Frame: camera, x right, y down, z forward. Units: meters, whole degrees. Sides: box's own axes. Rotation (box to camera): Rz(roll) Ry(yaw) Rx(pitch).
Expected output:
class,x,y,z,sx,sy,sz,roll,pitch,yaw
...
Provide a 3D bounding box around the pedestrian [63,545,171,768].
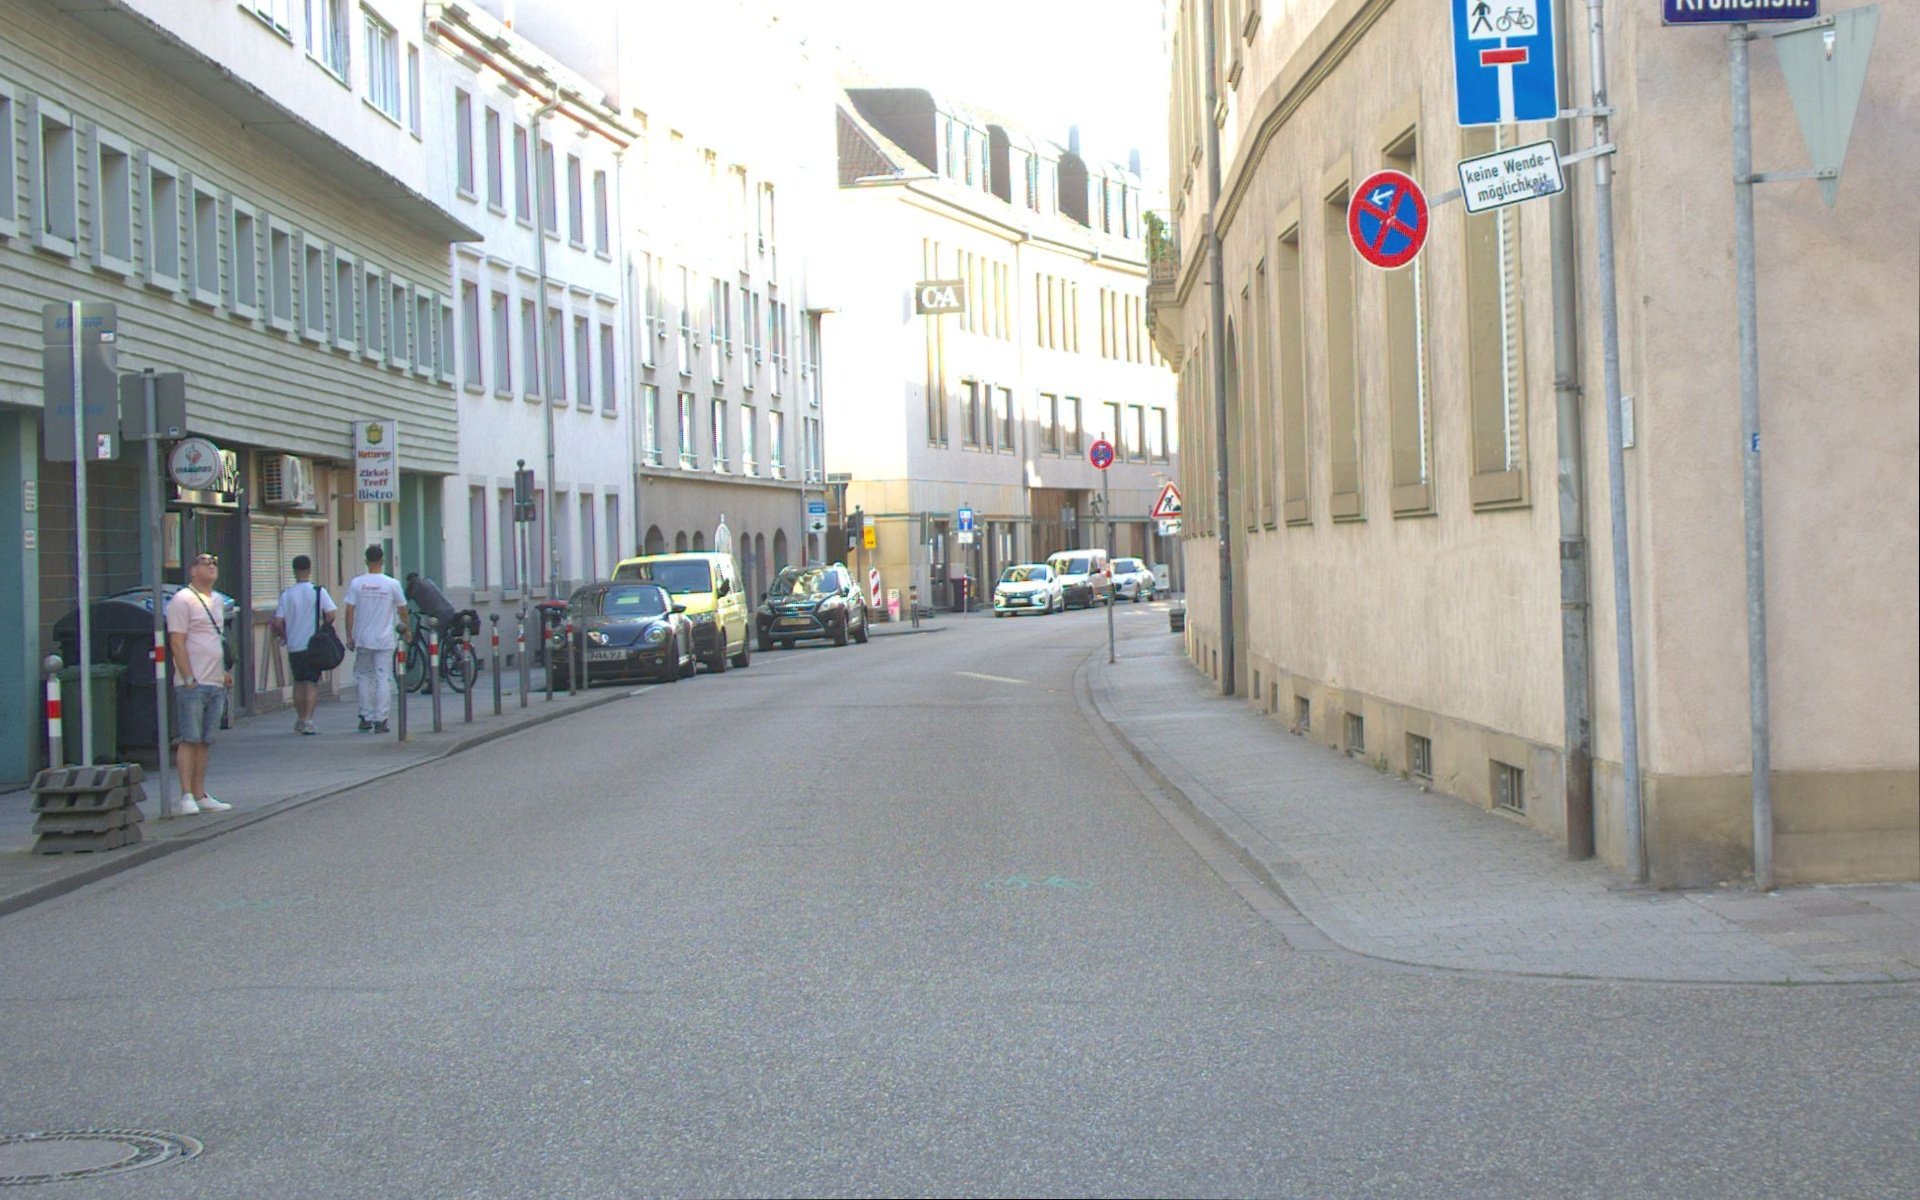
class,x,y,z,sx,sy,sz,roll,pitch,yaw
pedestrian,-7.019,0.461,28.645,0.728,1.823,0.557,-1,1,-2

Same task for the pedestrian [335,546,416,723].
class,x,y,z,sx,sy,sz,roll,pitch,yaw
pedestrian,-5.629,0.330,33.136,0.662,1.679,0.480,-1,1,-1

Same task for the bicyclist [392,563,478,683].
class,x,y,z,sx,sy,sz,roll,pitch,yaw
bicyclist,-6.948,0.297,45.507,0.758,1.556,0.832,-1,1,24

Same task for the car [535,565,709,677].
class,x,y,z,sx,sy,sz,roll,pitch,yaw
car,-4.777,0.273,49.054,1.866,1.463,3.833,-1,1,3

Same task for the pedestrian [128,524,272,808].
class,x,y,z,sx,sy,sz,roll,pitch,yaw
pedestrian,-4.973,0.420,22.527,0.556,1.823,0.730,-1,1,22

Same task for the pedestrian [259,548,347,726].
class,x,y,z,sx,sy,sz,roll,pitch,yaw
pedestrian,-6.328,0.351,33.130,0.712,1.679,0.480,-1,1,-1

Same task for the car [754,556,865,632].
class,x,y,z,sx,sy,sz,roll,pitch,yaw
car,-3.081,-0.149,71.003,1.866,1.463,3.833,-1,1,3

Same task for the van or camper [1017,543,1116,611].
class,x,y,z,sx,sy,sz,roll,pitch,yaw
van or camper,3.364,-0.730,107.131,1.995,2.007,4.995,-1,1,14

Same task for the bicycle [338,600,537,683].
class,x,y,z,sx,sy,sz,roll,pitch,yaw
bicycle,-6.919,0.549,45.495,2.544,1.050,0.832,-1,1,24

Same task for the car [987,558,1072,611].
class,x,y,z,sx,sy,sz,roll,pitch,yaw
car,2.068,-0.468,101.352,1.735,1.463,3.998,-1,1,13

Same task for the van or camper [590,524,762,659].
class,x,y,z,sx,sy,sz,roll,pitch,yaw
van or camper,-4.475,-0.164,54.791,1.994,2.007,4.482,-1,1,4

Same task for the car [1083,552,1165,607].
class,x,y,z,sx,sy,sz,roll,pitch,yaw
car,5.434,-0.677,113.434,1.827,1.720,3.997,-1,1,16
